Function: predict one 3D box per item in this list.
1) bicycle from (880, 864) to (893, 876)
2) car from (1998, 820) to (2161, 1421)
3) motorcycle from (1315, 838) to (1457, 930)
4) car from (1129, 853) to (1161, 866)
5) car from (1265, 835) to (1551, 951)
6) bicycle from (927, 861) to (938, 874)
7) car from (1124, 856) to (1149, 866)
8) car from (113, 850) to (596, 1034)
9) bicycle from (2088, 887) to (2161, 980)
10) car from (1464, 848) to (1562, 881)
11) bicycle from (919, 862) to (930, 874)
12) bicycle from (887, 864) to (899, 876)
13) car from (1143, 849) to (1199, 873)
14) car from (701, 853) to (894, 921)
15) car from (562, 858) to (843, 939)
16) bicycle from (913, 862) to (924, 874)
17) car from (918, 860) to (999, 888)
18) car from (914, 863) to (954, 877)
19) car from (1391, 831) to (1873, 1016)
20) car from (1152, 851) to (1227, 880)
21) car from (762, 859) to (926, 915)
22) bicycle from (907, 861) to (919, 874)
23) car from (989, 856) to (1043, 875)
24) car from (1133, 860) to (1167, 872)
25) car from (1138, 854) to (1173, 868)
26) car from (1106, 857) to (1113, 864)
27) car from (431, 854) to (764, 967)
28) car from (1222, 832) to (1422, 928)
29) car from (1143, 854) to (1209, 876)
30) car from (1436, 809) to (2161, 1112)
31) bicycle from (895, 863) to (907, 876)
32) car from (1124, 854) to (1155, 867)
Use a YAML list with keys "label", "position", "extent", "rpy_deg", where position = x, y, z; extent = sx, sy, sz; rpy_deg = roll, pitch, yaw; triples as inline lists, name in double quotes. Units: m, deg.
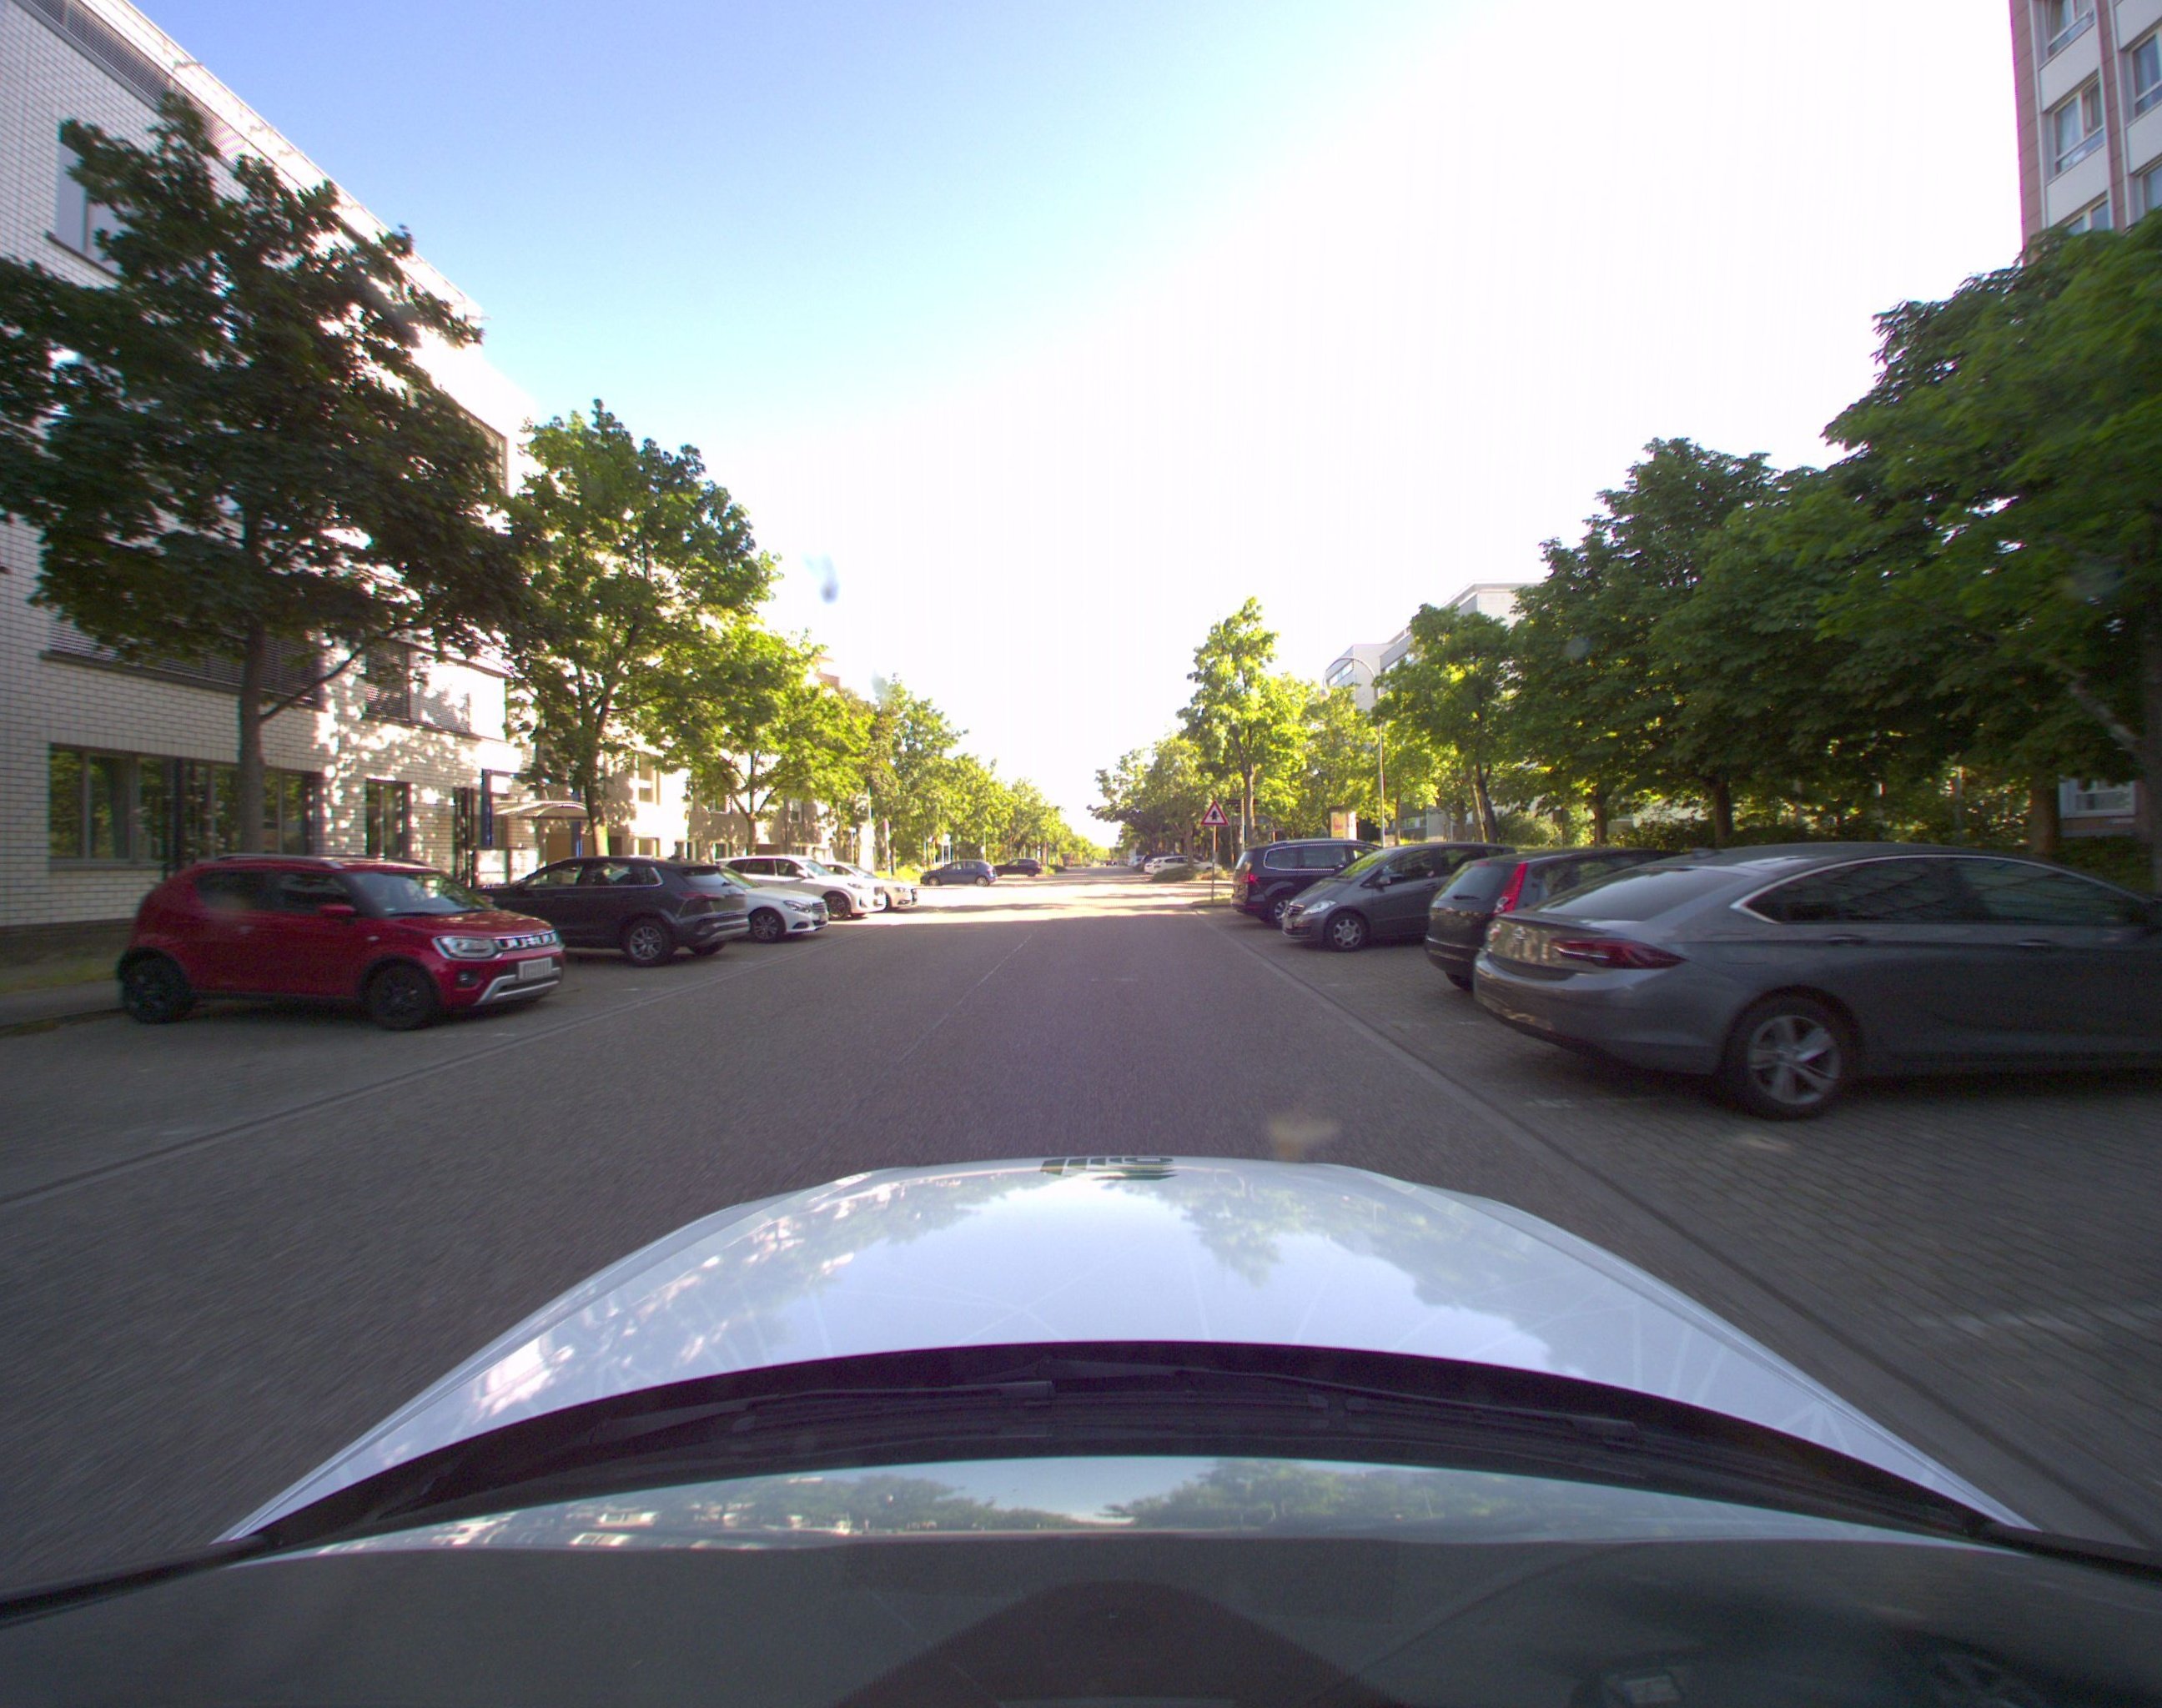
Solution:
- label: "bicycle"
  position: [-16.505, 1.358, 69.098]
  extent: [0.435, 1.047, 2.194]
  rpy_deg: [0, -1, 2]
- label: "car"
  position: [4.451, 0.592, 1.486]
  extent: [3.560, 1.507, 1.724]
  rpy_deg: [-2, -1, 0]
- label: "motorcycle"
  position: [5.676, 0.547, 15.258]
  extent: [2.299, 1.580, 0.767]
  rpy_deg: [-3, -1, 3]
- label: "car"
  position: [9.252, 0.822, 118.609]
  extent: [4.421, 1.647, 1.816]
  rpy_deg: [-4, 0, 0]
- label: "car"
  position: [5.143, 0.586, 13.152]
  extent: [3.862, 1.565, 1.807]
  rpy_deg: [-2, -1, -3]
- label: "bicycle"
  position: [-12.517, 1.155, 68.788]
  extent: [0.435, 1.047, 2.194]
  rpy_deg: [0, -1, 2]
- label: "car"
  position: [9.553, 1.150, 140.281]
  extent: [4.149, 1.428, 2.001]
  rpy_deg: [-4, -1, 1]
- label: "car"
  position: [-7.246, 0.799, 8.361]
  extent: [3.556, 1.668, 1.656]
  rpy_deg: [0, 0, 4]
- label: "bicycle"
  position: [9.375, 0.690, 6.809]
  extent: [0.333, 0.773, 1.278]
  rpy_deg: [0, 0, 0]
- label: "car"
  position: [21.657, 0.519, 40.960]
  extent: [3.973, 1.530, 1.835]
  rpy_deg: [-1, 0, 0]
- label: "bicycle"
  position: [-13.518, 1.186, 70.324]
  extent: [0.435, 1.047, 2.194]
  rpy_deg: [0, -1, 2]
- label: "bicycle"
  position: [-15.971, 1.343, 69.083]
  extent: [0.435, 1.047, 2.194]
  rpy_deg: [0, -1, 2]
- label: "car"
  position: [7.604, 0.606, 69.415]
  extent: [4.569, 1.779, 2.001]
  rpy_deg: [-3, -1, 2]
- label: "car"
  position: [-7.171, 0.823, 20.911]
  extent: [4.208, 1.602, 1.954]
  rpy_deg: [1, -1, 2]
- label: "car"
  position: [-7.160, 0.816, 15.798]
  extent: [4.497, 1.451, 1.939]
  rpy_deg: [0, 0, -3]
- label: "bicycle"
  position: [-14.035, 1.178, 70.346]
  extent: [0.435, 1.047, 2.194]
  rpy_deg: [0, -1, 2]
- label: "car"
  position: [-6.383, 1.014, 42.845]
  extent: [3.976, 1.411, 1.816]
  rpy_deg: [0, -1, -2]
- label: "car"
  position: [-16.478, 1.788, 91.493]
  extent: [4.060, 1.451, 1.626]
  rpy_deg: [-3, -1, 3]
- label: "car"
  position: [5.310, 0.620, 8.173]
  extent: [3.703, 1.481, 1.722]
  rpy_deg: [-2, -1, -4]
- label: "car"
  position: [6.781, 0.715, 51.402]
  extent: [4.414, 1.593, 1.836]
  rpy_deg: [-3, -1, -1]
- label: "car"
  position: [-6.864, 0.937, 23.874]
  extent: [4.243, 1.480, 1.800]
  rpy_deg: [-1, 0, 1]
- label: "bicycle"
  position: [-14.526, 1.173, 70.376]
  extent: [0.435, 1.047, 2.194]
  rpy_deg: [0, -1, 2]
- label: "car"
  position: [-5.360, 0.974, 67.529]
  extent: [4.175, 1.520, 1.773]
  rpy_deg: [0, -1, 2]
- label: "car"
  position: [8.660, 1.470, 102.114]
  extent: [4.252, 1.428, 1.831]
  rpy_deg: [-1, -1, 6]
- label: "car"
  position: [8.852, 0.850, 97.193]
  extent: [3.972, 1.451, 1.718]
  rpy_deg: [-3, 0, 2]
- label: "car"
  position: [8.693, 1.936, 246.789]
  extent: [1.985, 2.013, 4.003]
  rpy_deg: [0, 0, 2]
- label: "car"
  position: [-7.334, 0.813, 12.643]
  extent: [4.095, 1.620, 1.805]
  rpy_deg: [0, 0, 3]
- label: "car"
  position: [4.899, 0.530, 16.960]
  extent: [3.656, 1.751, 1.726]
  rpy_deg: [-2, -1, 4]
- label: "car"
  position: [6.651, 0.768, 57.465]
  extent: [4.429, 1.545, 1.816]
  rpy_deg: [0, -1, -1]
- label: "car"
  position: [4.913, 0.558, 5.280]
  extent: [4.405, 1.553, 1.860]
  rpy_deg: [-1, 0, 0]
- label: "bicycle"
  position: [-15.165, 1.273, 68.790]
  extent: [0.435, 1.047, 2.194]
  rpy_deg: [0, -1, 2]
- label: "car"
  position: [8.327, 0.949, 115.928]
  extent: [4.329, 1.489, 1.738]
  rpy_deg: [-3, -1, 0]
